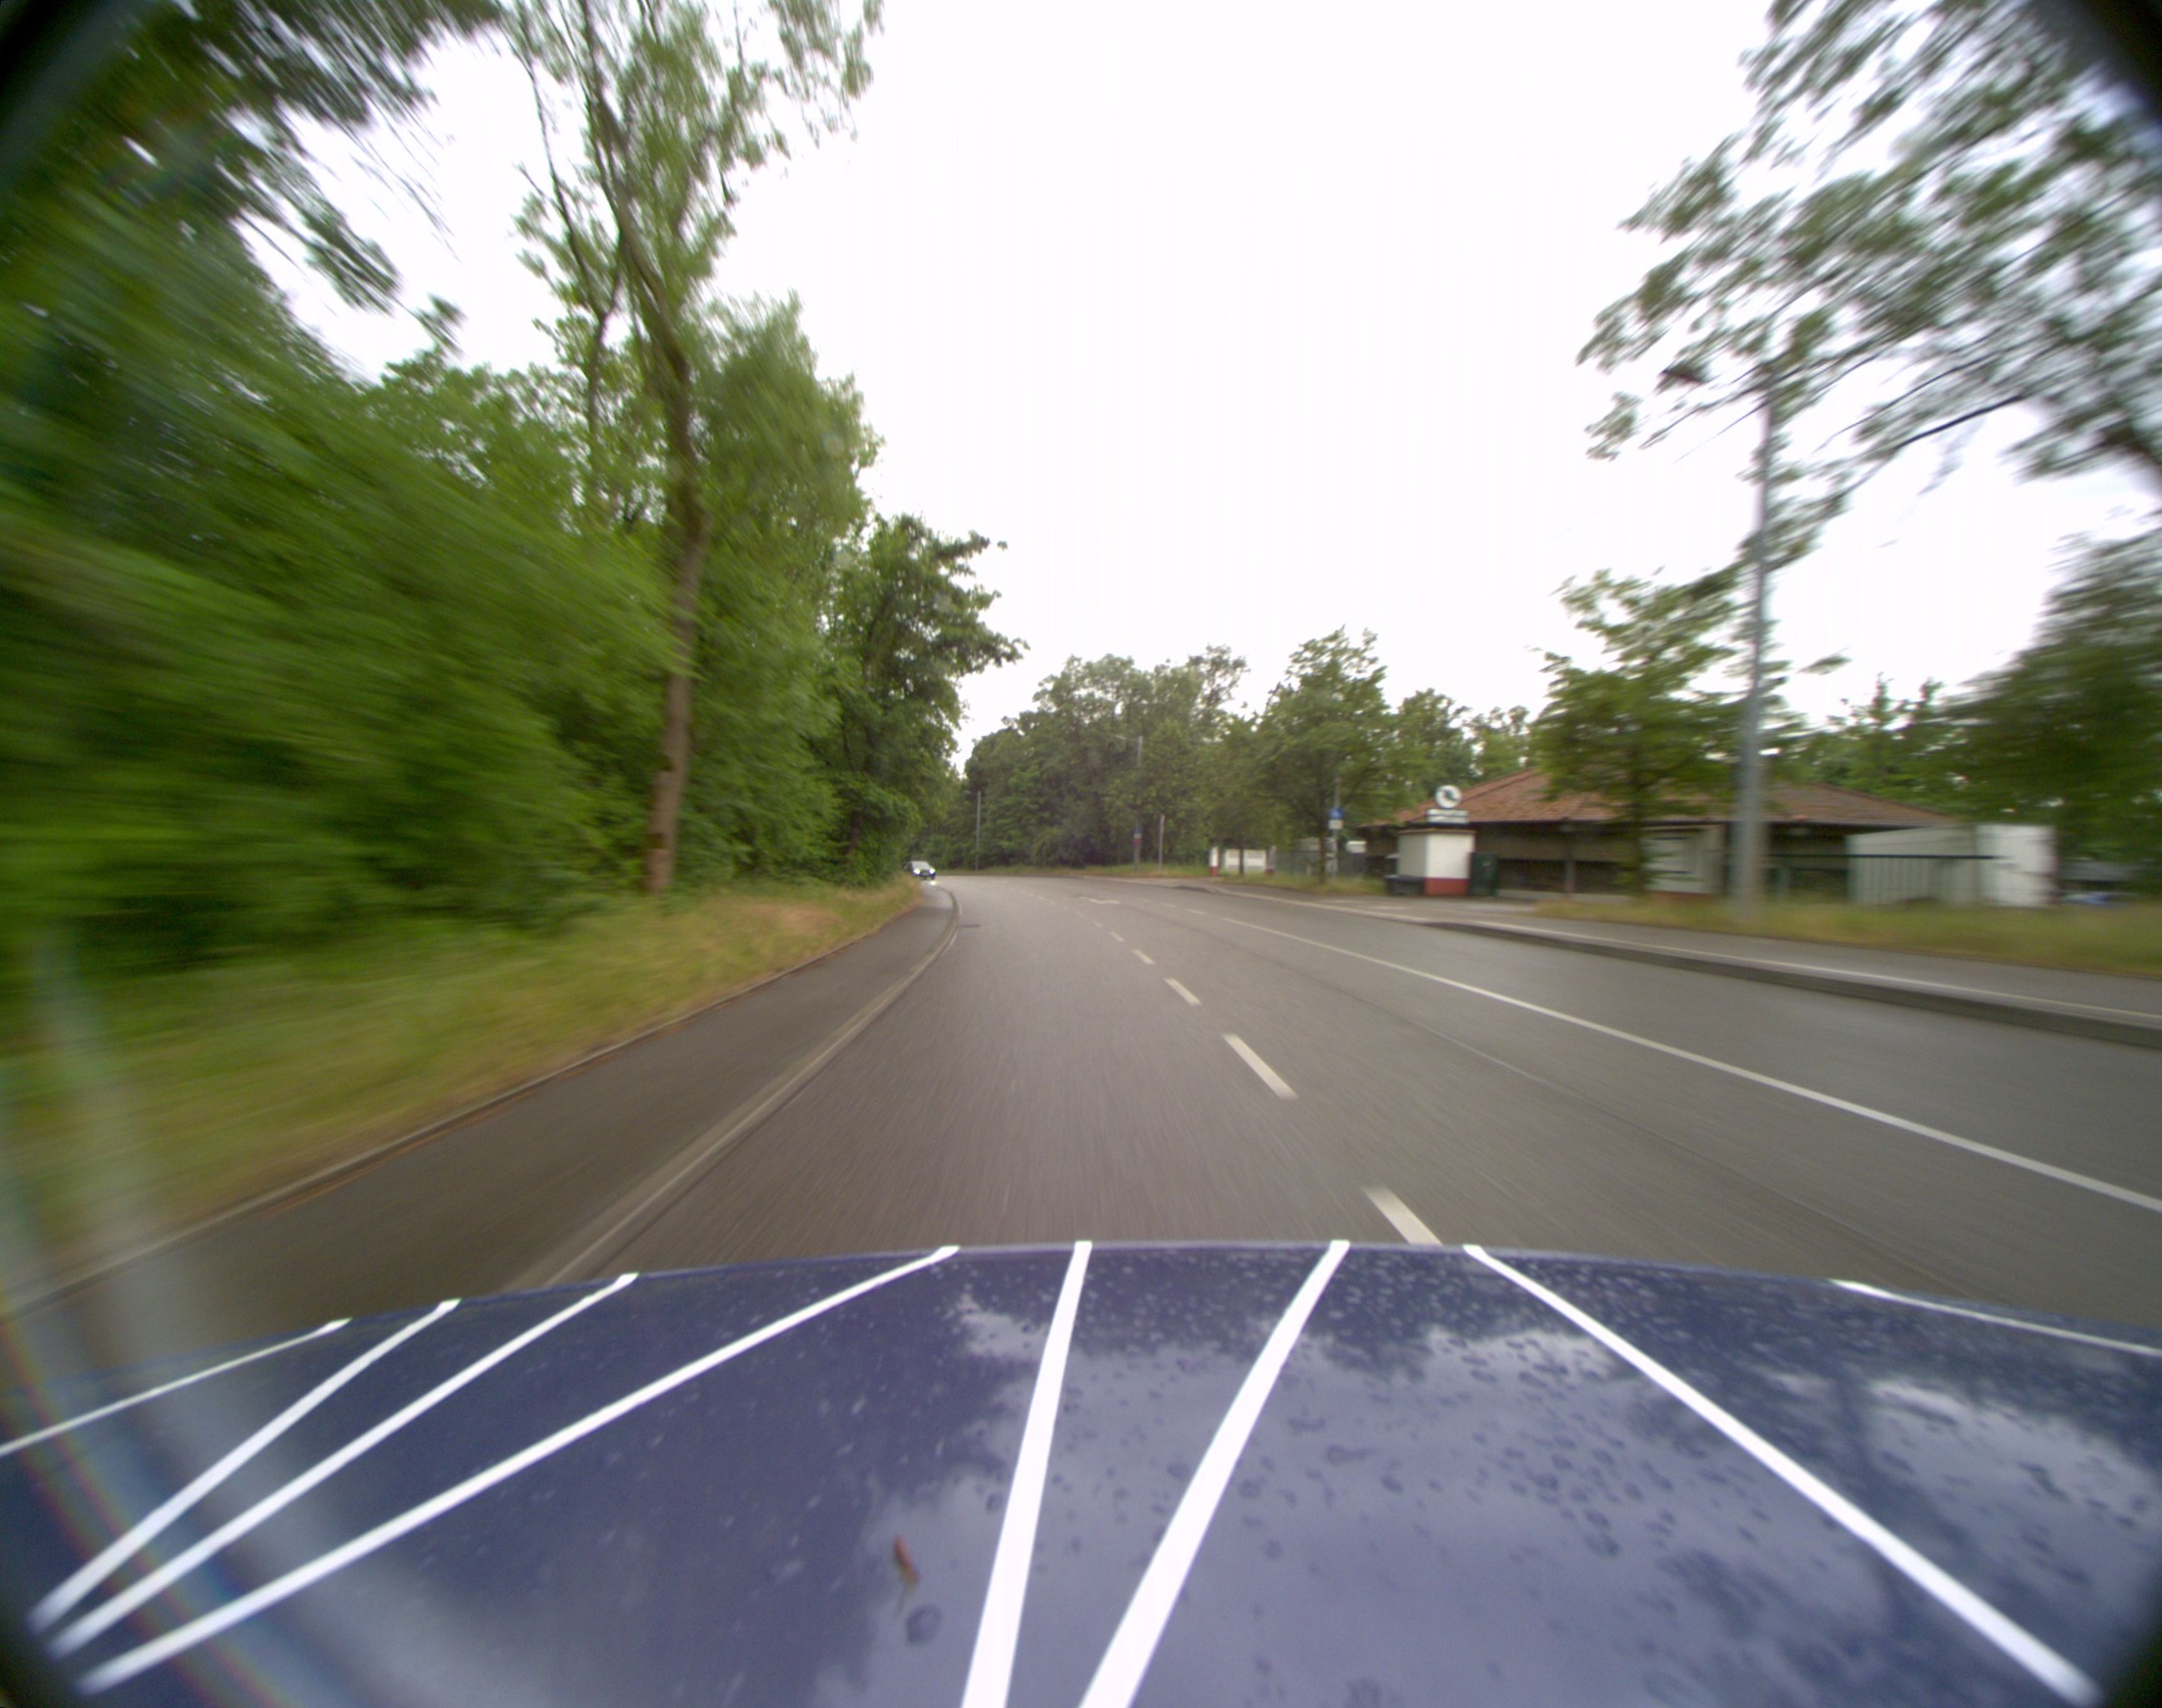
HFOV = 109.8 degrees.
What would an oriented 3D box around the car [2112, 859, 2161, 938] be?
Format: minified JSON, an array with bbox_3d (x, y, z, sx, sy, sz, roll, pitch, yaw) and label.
[{"bbox_3d":[25.788,0.999,16.303,3.992,1.701,1.934,0,2,14],"label":"car"}]
